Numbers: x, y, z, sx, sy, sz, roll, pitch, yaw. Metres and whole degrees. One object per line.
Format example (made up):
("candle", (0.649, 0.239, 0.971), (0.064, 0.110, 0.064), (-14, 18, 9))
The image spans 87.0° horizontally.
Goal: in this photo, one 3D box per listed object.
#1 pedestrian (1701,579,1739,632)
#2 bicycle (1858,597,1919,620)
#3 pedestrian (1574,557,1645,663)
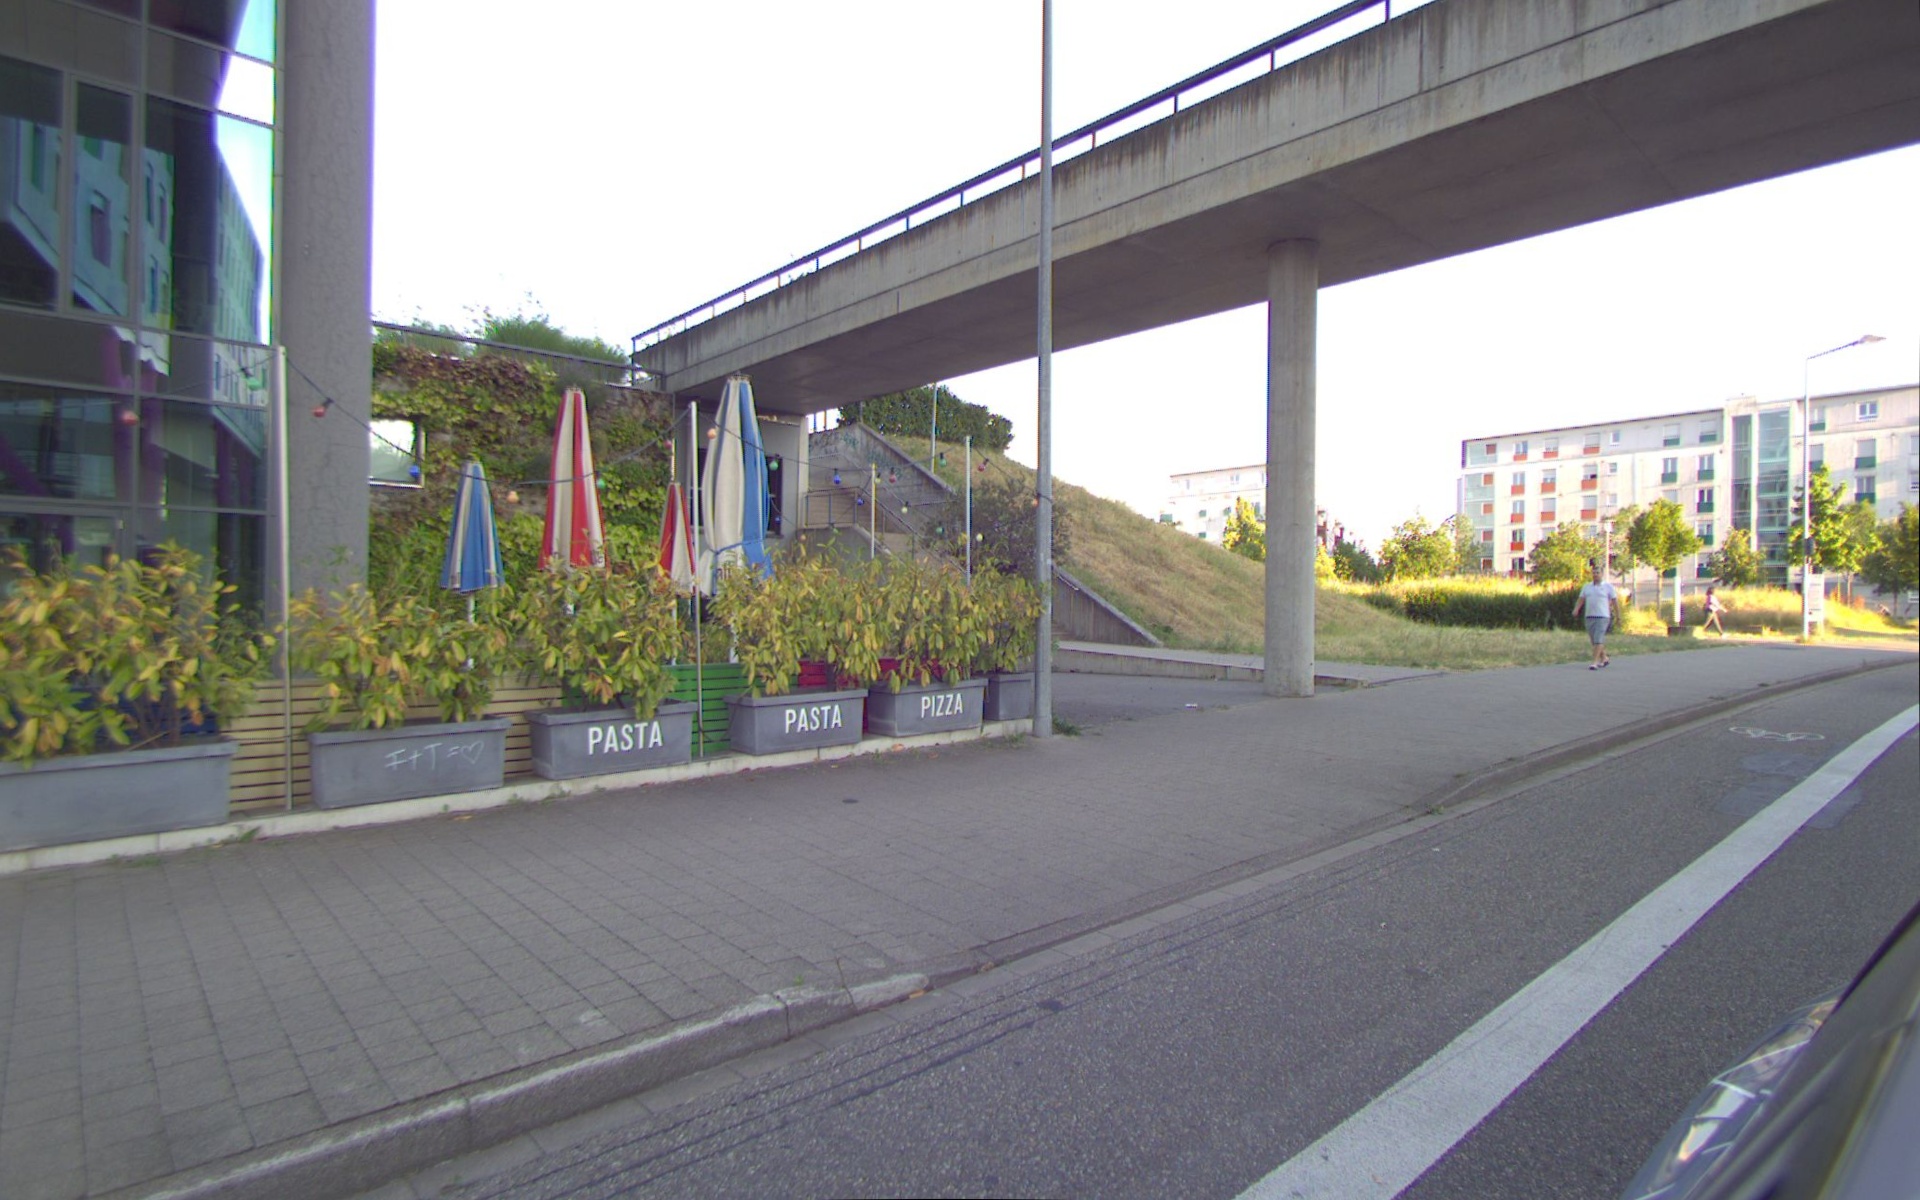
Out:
("pedestrian", (24.391, 0.155, 32.494), (0.844, 1.650, 0.737), (1, 2, -40))
("bicycle", (66.168, 0.598, 71.803), (1.000, 1.589, 3.540), (1, 0, -38))
("pedestrian", (11.094, 0.161, 17.287), (0.890, 1.745, 0.737), (1, 2, -40))
